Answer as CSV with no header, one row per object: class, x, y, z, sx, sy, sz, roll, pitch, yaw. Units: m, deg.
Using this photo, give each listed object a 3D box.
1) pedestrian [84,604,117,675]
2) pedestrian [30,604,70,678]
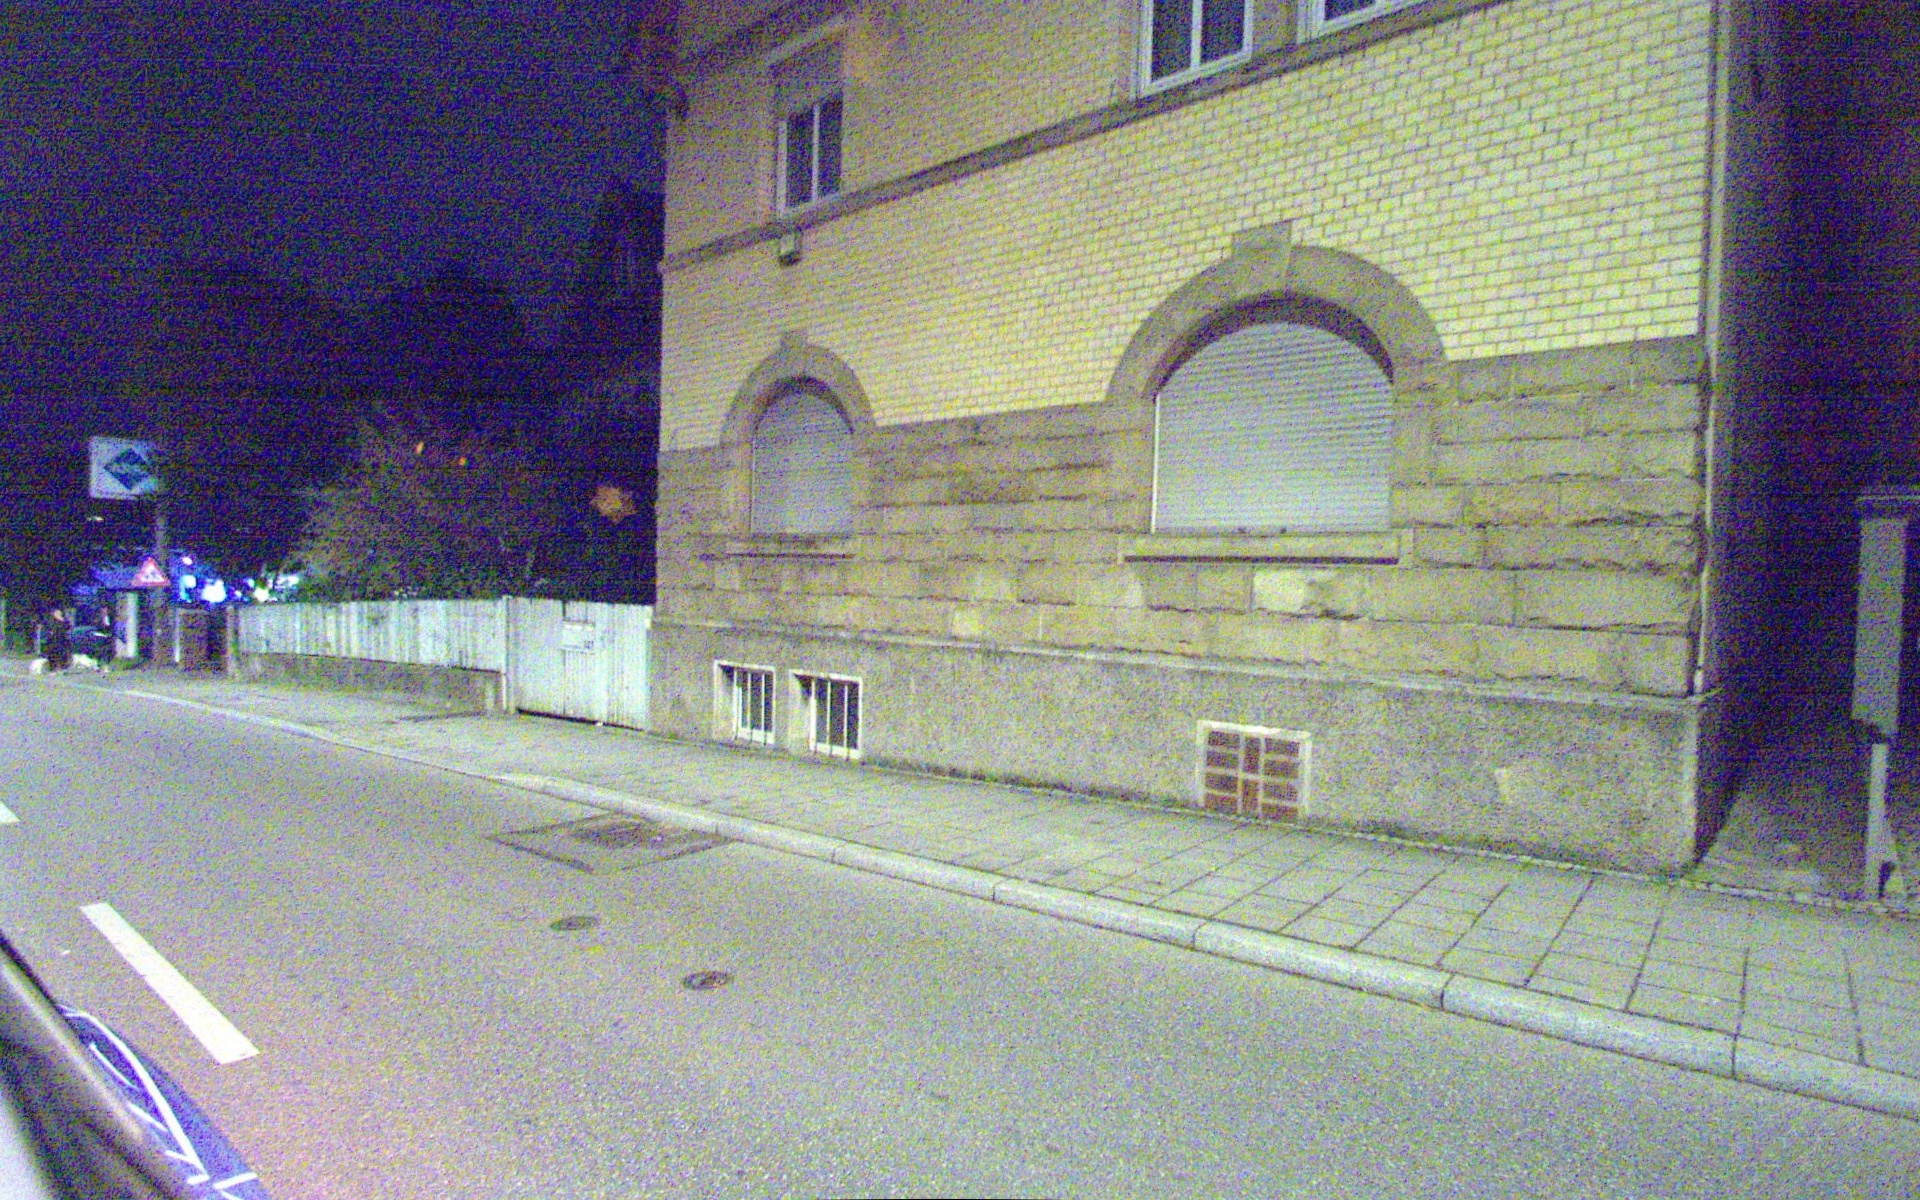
pedestrian,-21.862,0.985,25.749,0.500,1.773,0.557,-1,0,41
pedestrian,-22.454,0.993,24.964,0.500,1.773,0.664,-1,0,41
